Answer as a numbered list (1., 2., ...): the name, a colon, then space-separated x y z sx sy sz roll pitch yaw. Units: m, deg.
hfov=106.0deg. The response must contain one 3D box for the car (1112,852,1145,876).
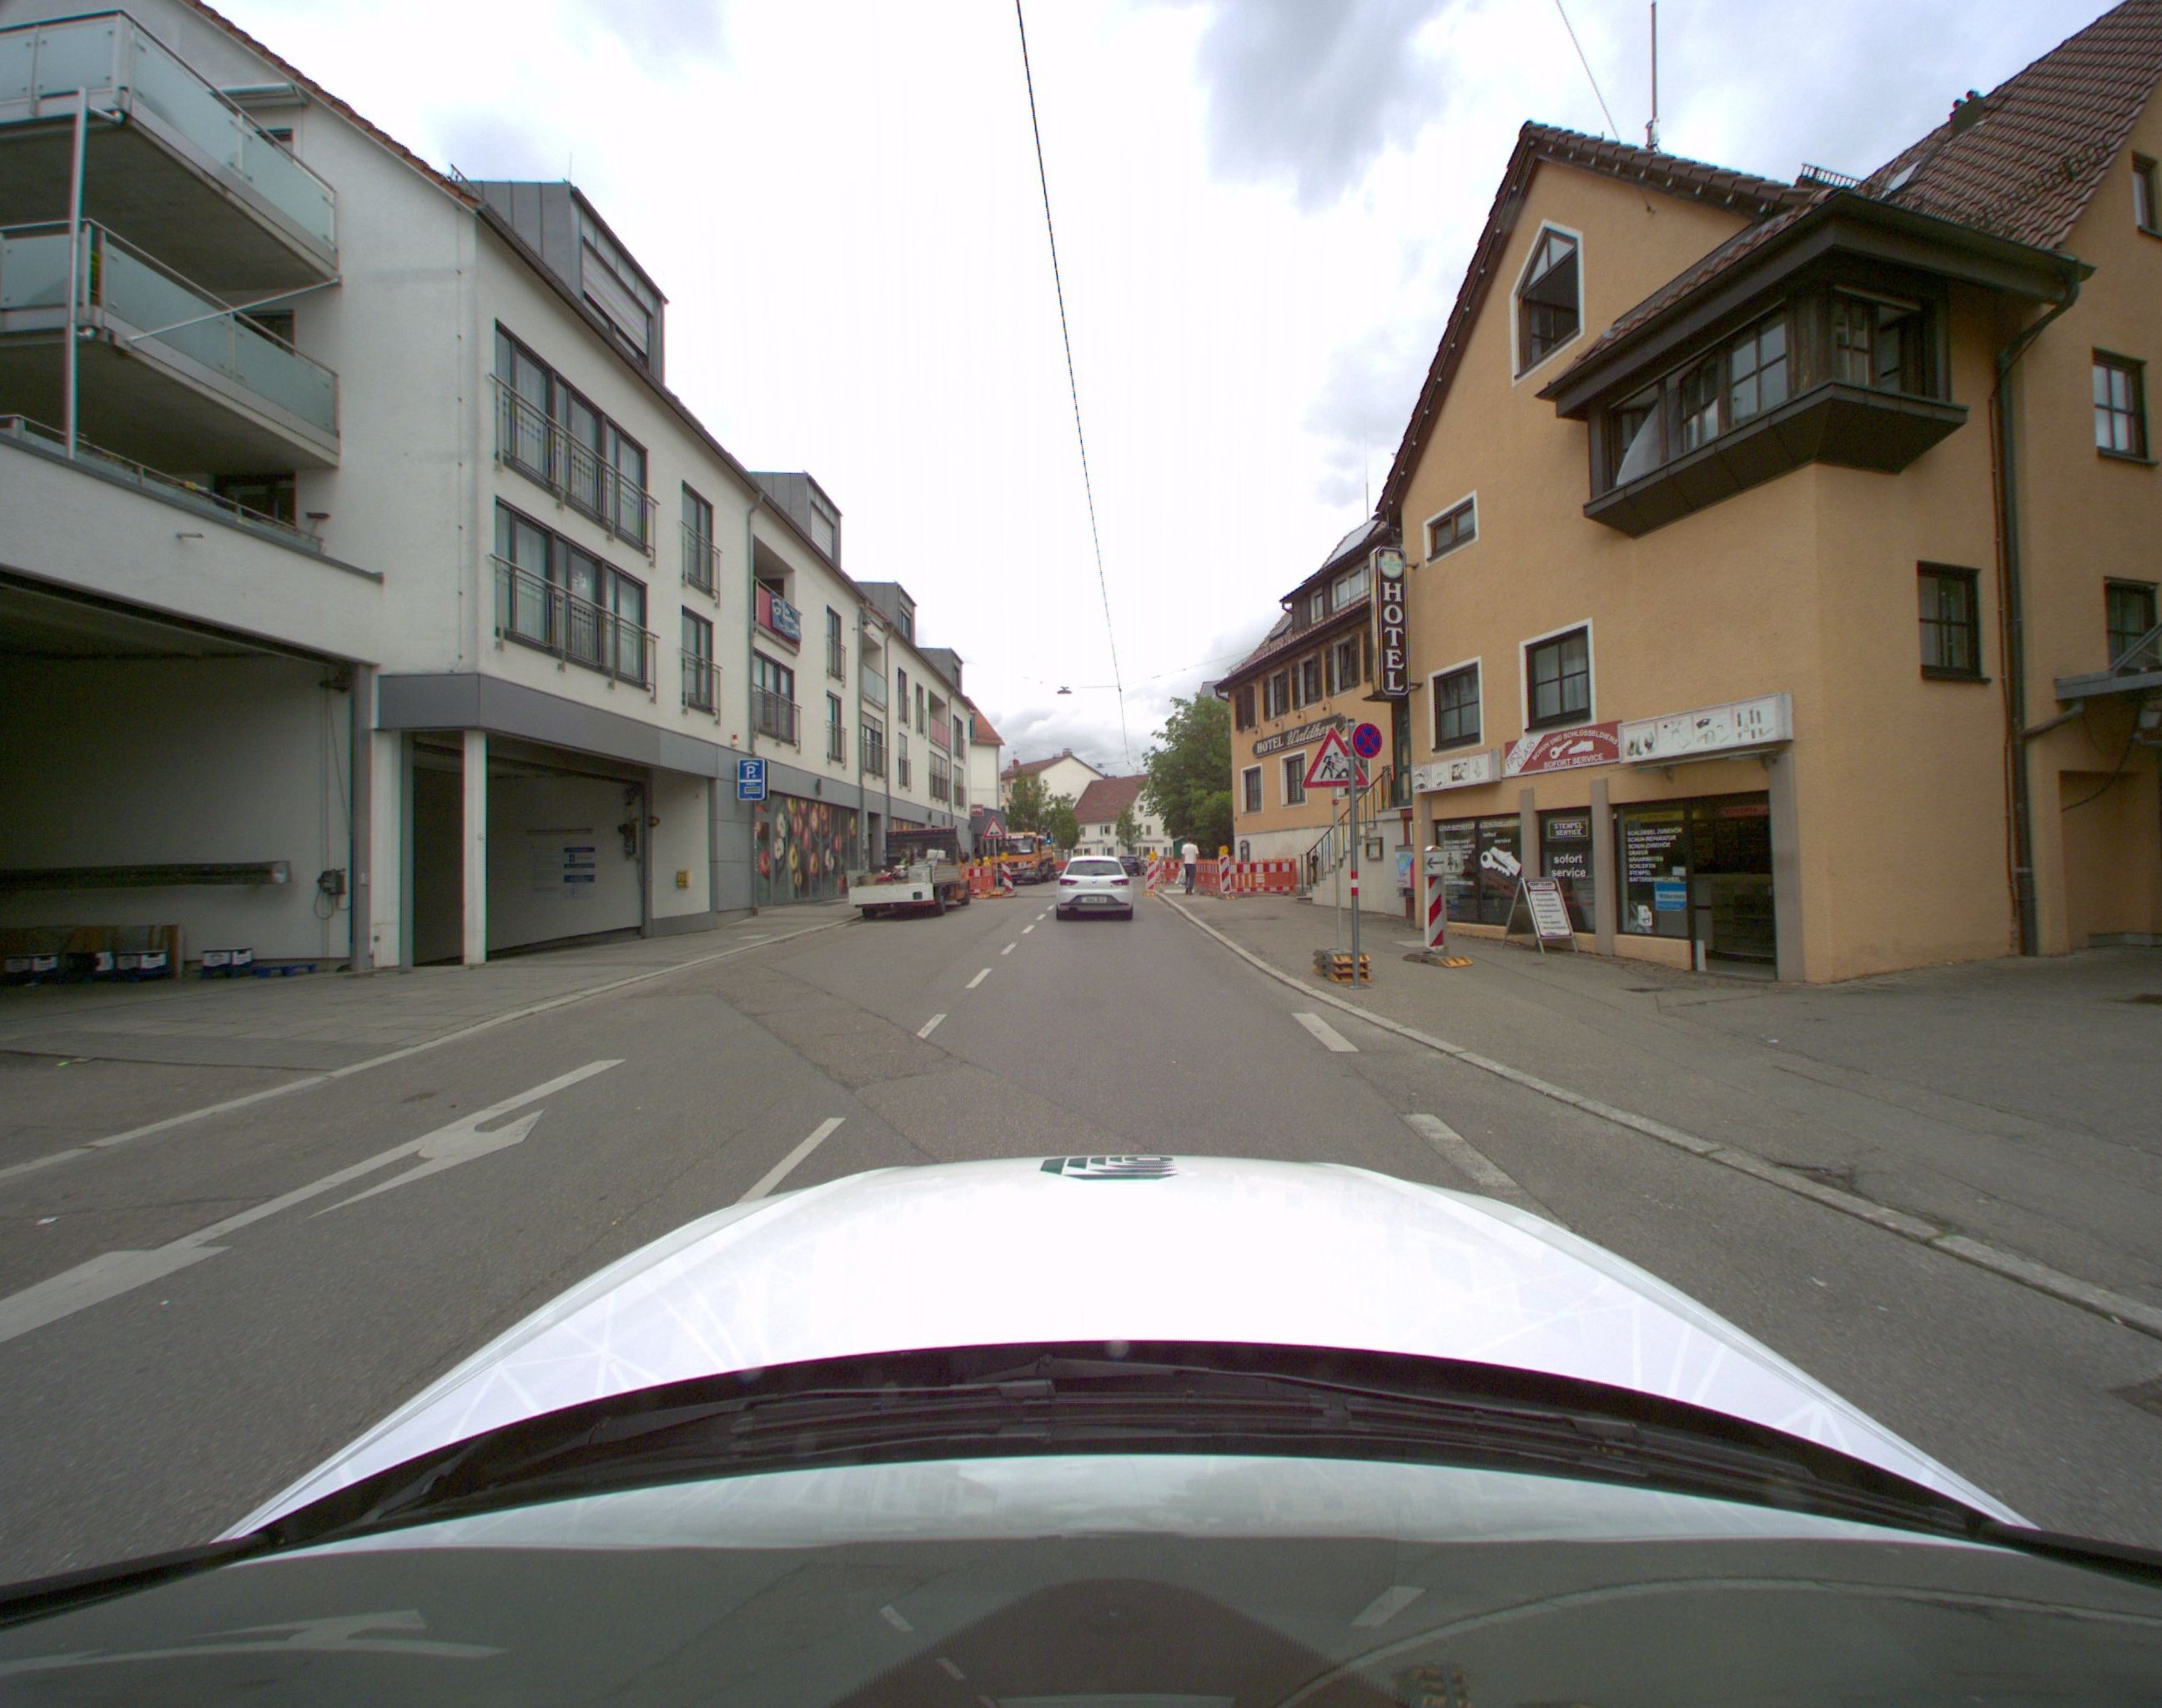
1. car: 3.253 0.651 55.157 1.801 1.480 3.880 -2 0 8

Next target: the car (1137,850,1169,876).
1. car: 5.899 0.707 66.253 1.980 2.014 4.014 -1 -1 12

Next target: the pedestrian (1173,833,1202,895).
1. pedestrian: 3.441 0.302 26.387 0.795 1.950 0.836 -2 0 0

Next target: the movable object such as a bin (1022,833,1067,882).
1. movable object such as a bin: -2.114 0.245 48.166 1.829 2.764 4.515 -2 -1 8

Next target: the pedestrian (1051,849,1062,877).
1. pedestrian: -1.554 0.582 51.737 0.534 1.744 0.445 -2 -1 9

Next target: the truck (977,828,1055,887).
1. truck: -3.194 0.145 42.151 2.717 2.725 6.859 -2 0 6

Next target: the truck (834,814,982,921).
1. truck: -4.496 0.295 22.458 2.404 2.465 6.311 -2 0 2

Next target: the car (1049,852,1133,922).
1. car: 0.302 0.703 19.452 1.804 1.480 3.873 0 0 2

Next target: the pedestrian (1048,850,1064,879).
1. pedestrian: -1.597 0.641 51.824 0.810 1.816 0.745 -1 -1 9
